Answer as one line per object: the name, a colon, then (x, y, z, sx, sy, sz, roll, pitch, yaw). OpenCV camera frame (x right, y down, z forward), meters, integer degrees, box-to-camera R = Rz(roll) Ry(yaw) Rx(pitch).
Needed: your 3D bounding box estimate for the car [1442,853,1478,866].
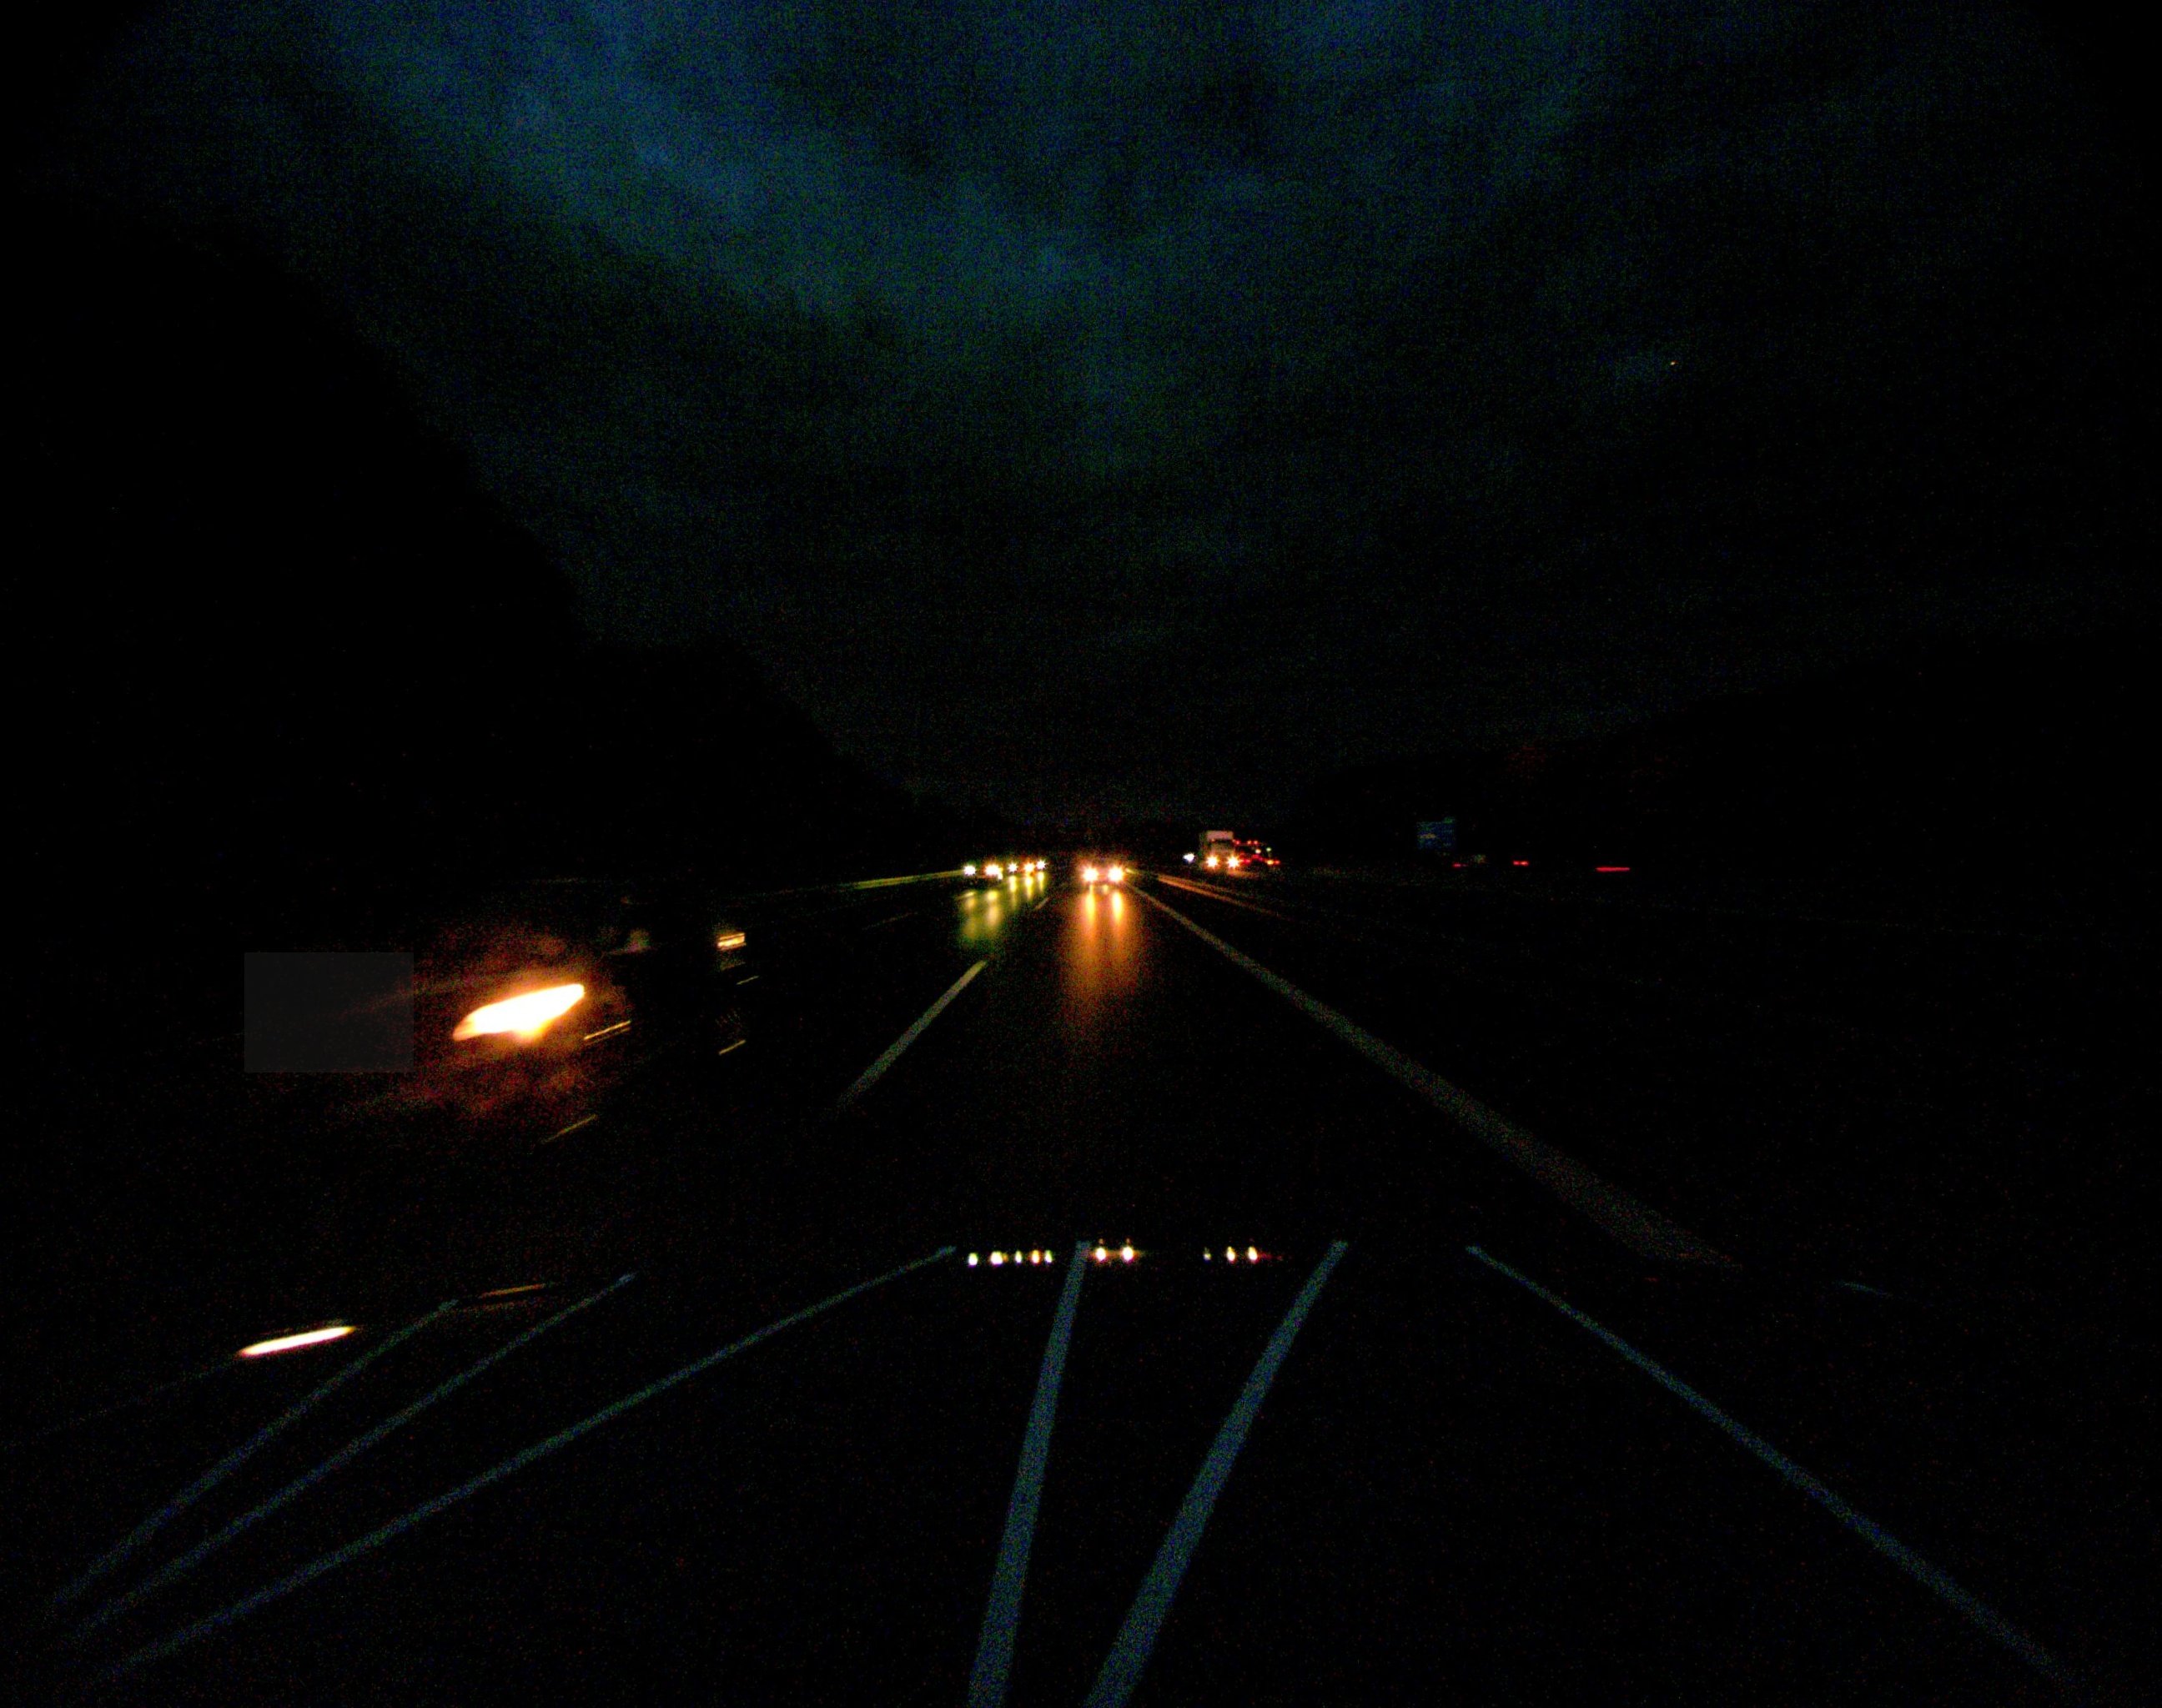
car: (44.801, 0.651, 89.938, 1.841, 1.434, 4.466, 0, 0, -2)

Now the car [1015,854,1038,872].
car: (-4.826, 0.775, 67.606, 1.803, 1.483, 5.116, -3, 0, -2)

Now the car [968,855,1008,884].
car: (-5.661, 0.893, 46.926, 1.802, 1.636, 5.159, 1, 0, 0)

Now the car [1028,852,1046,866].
car: (-4.843, 0.541, 84.850, 1.803, 1.483, 4.434, -3, 0, -2)

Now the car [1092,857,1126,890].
car: (1.393, 0.947, 38.826, 1.669, 1.551, 3.756, 0, 0, 1)

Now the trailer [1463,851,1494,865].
trailer: (44.884, 0.456, 85.895, 1.539, 1.586, 3.599, 0, 0, -2)

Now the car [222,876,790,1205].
car: (-3.566, 1.002, 5.545, 1.615, 1.547, 3.318, 0, 1, 0)

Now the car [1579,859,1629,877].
car: (49.369, 1.263, 71.785, 1.770, 1.586, 4.309, 0, 0, 0)

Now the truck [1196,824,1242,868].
truck: (14.172, -0.840, 78.662, 3.046, 4.276, 9.890, 0, 1, 1)
